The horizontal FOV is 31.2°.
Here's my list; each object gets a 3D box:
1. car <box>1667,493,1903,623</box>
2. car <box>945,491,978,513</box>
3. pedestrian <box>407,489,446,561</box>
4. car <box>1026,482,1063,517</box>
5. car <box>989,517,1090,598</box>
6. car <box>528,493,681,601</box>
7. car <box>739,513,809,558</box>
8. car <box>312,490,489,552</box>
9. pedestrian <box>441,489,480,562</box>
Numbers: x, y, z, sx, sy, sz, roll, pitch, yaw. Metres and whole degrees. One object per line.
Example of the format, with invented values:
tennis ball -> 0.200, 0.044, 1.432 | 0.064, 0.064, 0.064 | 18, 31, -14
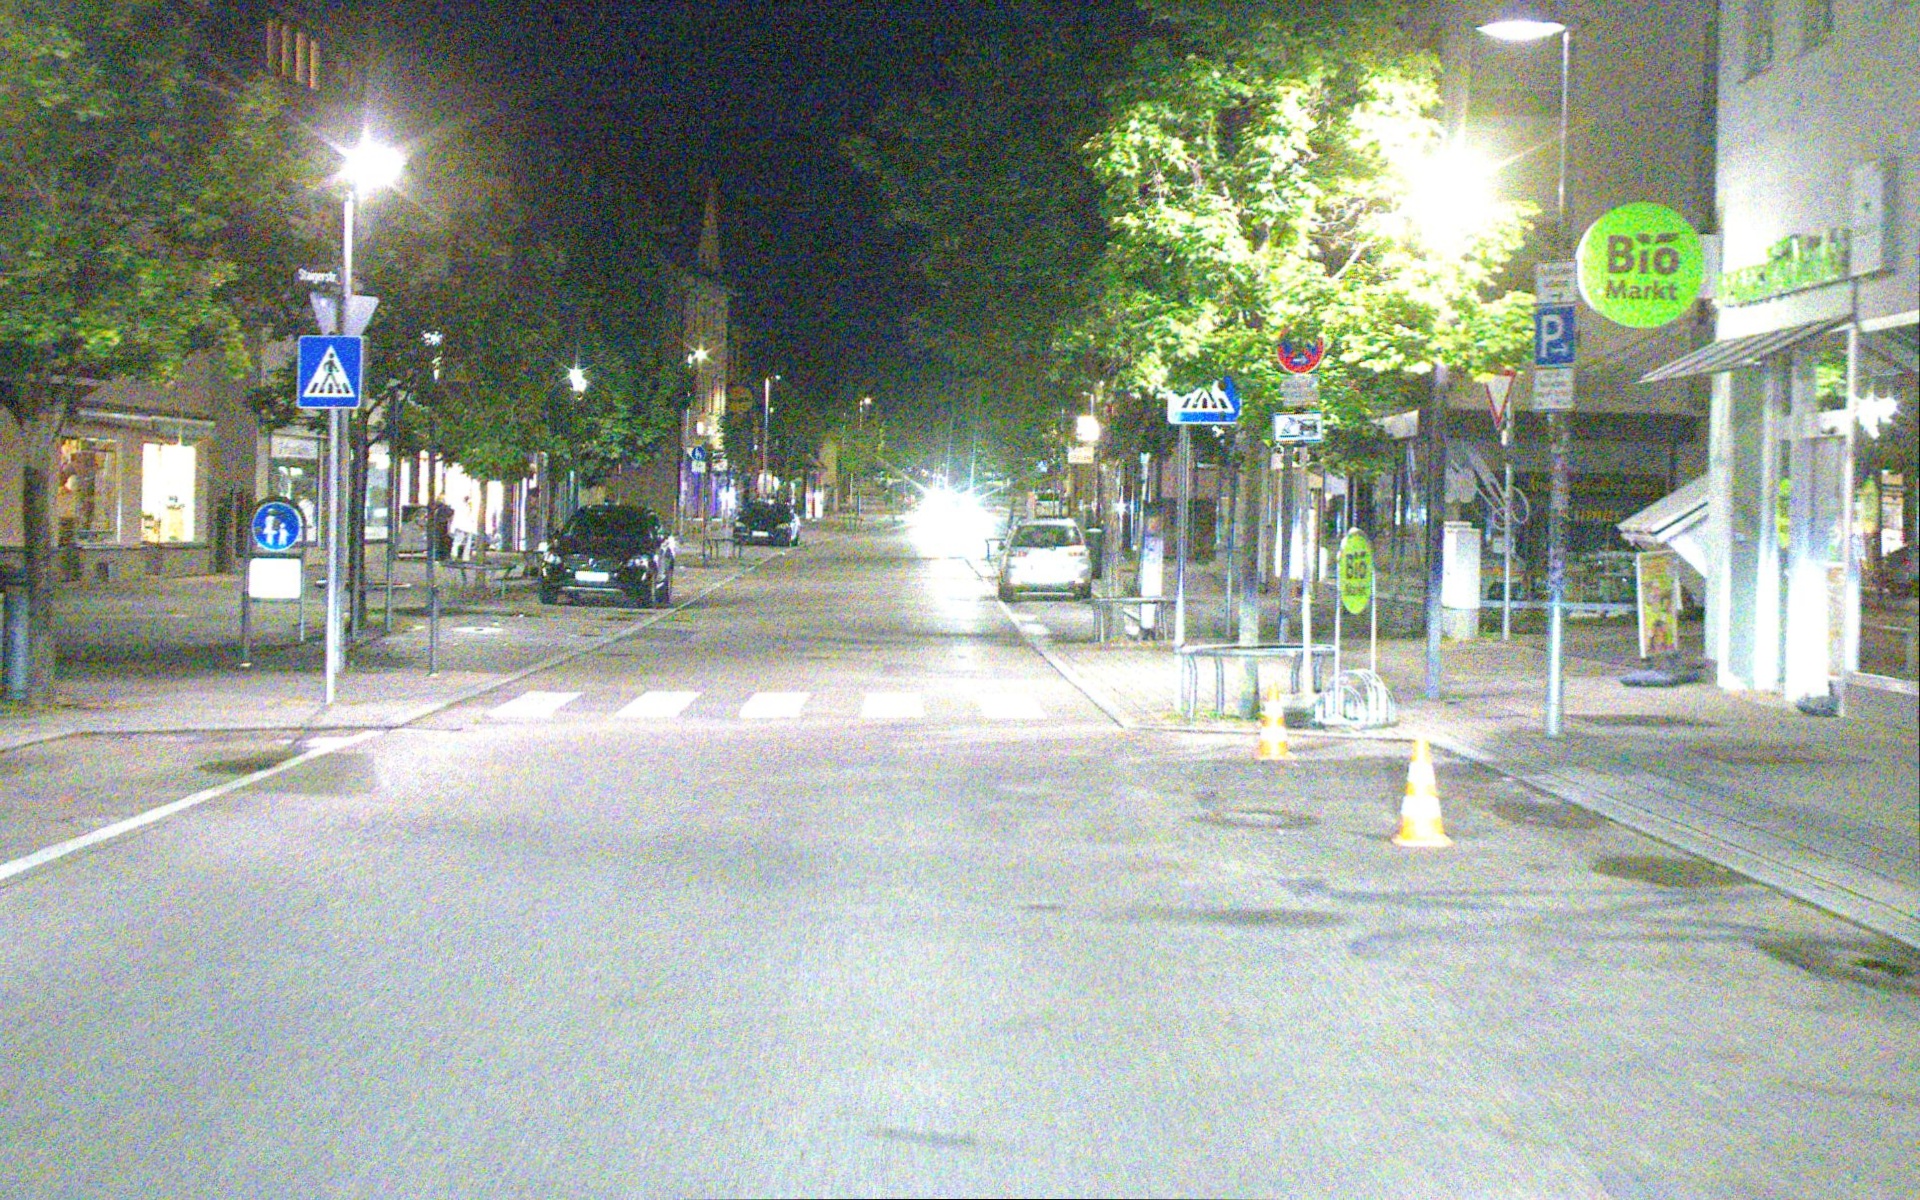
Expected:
car -> 10.342, -0.521, 43.392 | 1.804, 1.455, 4.057 | -4, 0, -2
car -> 0.092, -5.498, 192.768 | 1.723, 1.242, 4.237 | 0, 2, 1
pedestrian -> -12.351, -1.740, 79.636 | 0.769, 1.650, 0.817 | 1, 3, 1
car -> 4.087, -4.879, 166.261 | 1.775, 1.646, 4.364 | 0, 2, 1
car -> 1.460, -0.819, 64.326 | 1.674, 1.454, 3.676 | 0, 2, -2
car -> -6.026, -0.947, 58.831 | 2.018, 1.685, 5.003 | 2, 2, 0
car -> -6.068, -2.128, 112.658 | 1.914, 1.366, 4.457 | 0, 2, 2
car -> -14.469, -2.052, 89.018 | 4.167, 1.433, 1.841 | -2, 1, 4
pedestrian -> -11.571, -1.727, 79.619 | 0.769, 1.650, 0.782 | 1, 3, 1
